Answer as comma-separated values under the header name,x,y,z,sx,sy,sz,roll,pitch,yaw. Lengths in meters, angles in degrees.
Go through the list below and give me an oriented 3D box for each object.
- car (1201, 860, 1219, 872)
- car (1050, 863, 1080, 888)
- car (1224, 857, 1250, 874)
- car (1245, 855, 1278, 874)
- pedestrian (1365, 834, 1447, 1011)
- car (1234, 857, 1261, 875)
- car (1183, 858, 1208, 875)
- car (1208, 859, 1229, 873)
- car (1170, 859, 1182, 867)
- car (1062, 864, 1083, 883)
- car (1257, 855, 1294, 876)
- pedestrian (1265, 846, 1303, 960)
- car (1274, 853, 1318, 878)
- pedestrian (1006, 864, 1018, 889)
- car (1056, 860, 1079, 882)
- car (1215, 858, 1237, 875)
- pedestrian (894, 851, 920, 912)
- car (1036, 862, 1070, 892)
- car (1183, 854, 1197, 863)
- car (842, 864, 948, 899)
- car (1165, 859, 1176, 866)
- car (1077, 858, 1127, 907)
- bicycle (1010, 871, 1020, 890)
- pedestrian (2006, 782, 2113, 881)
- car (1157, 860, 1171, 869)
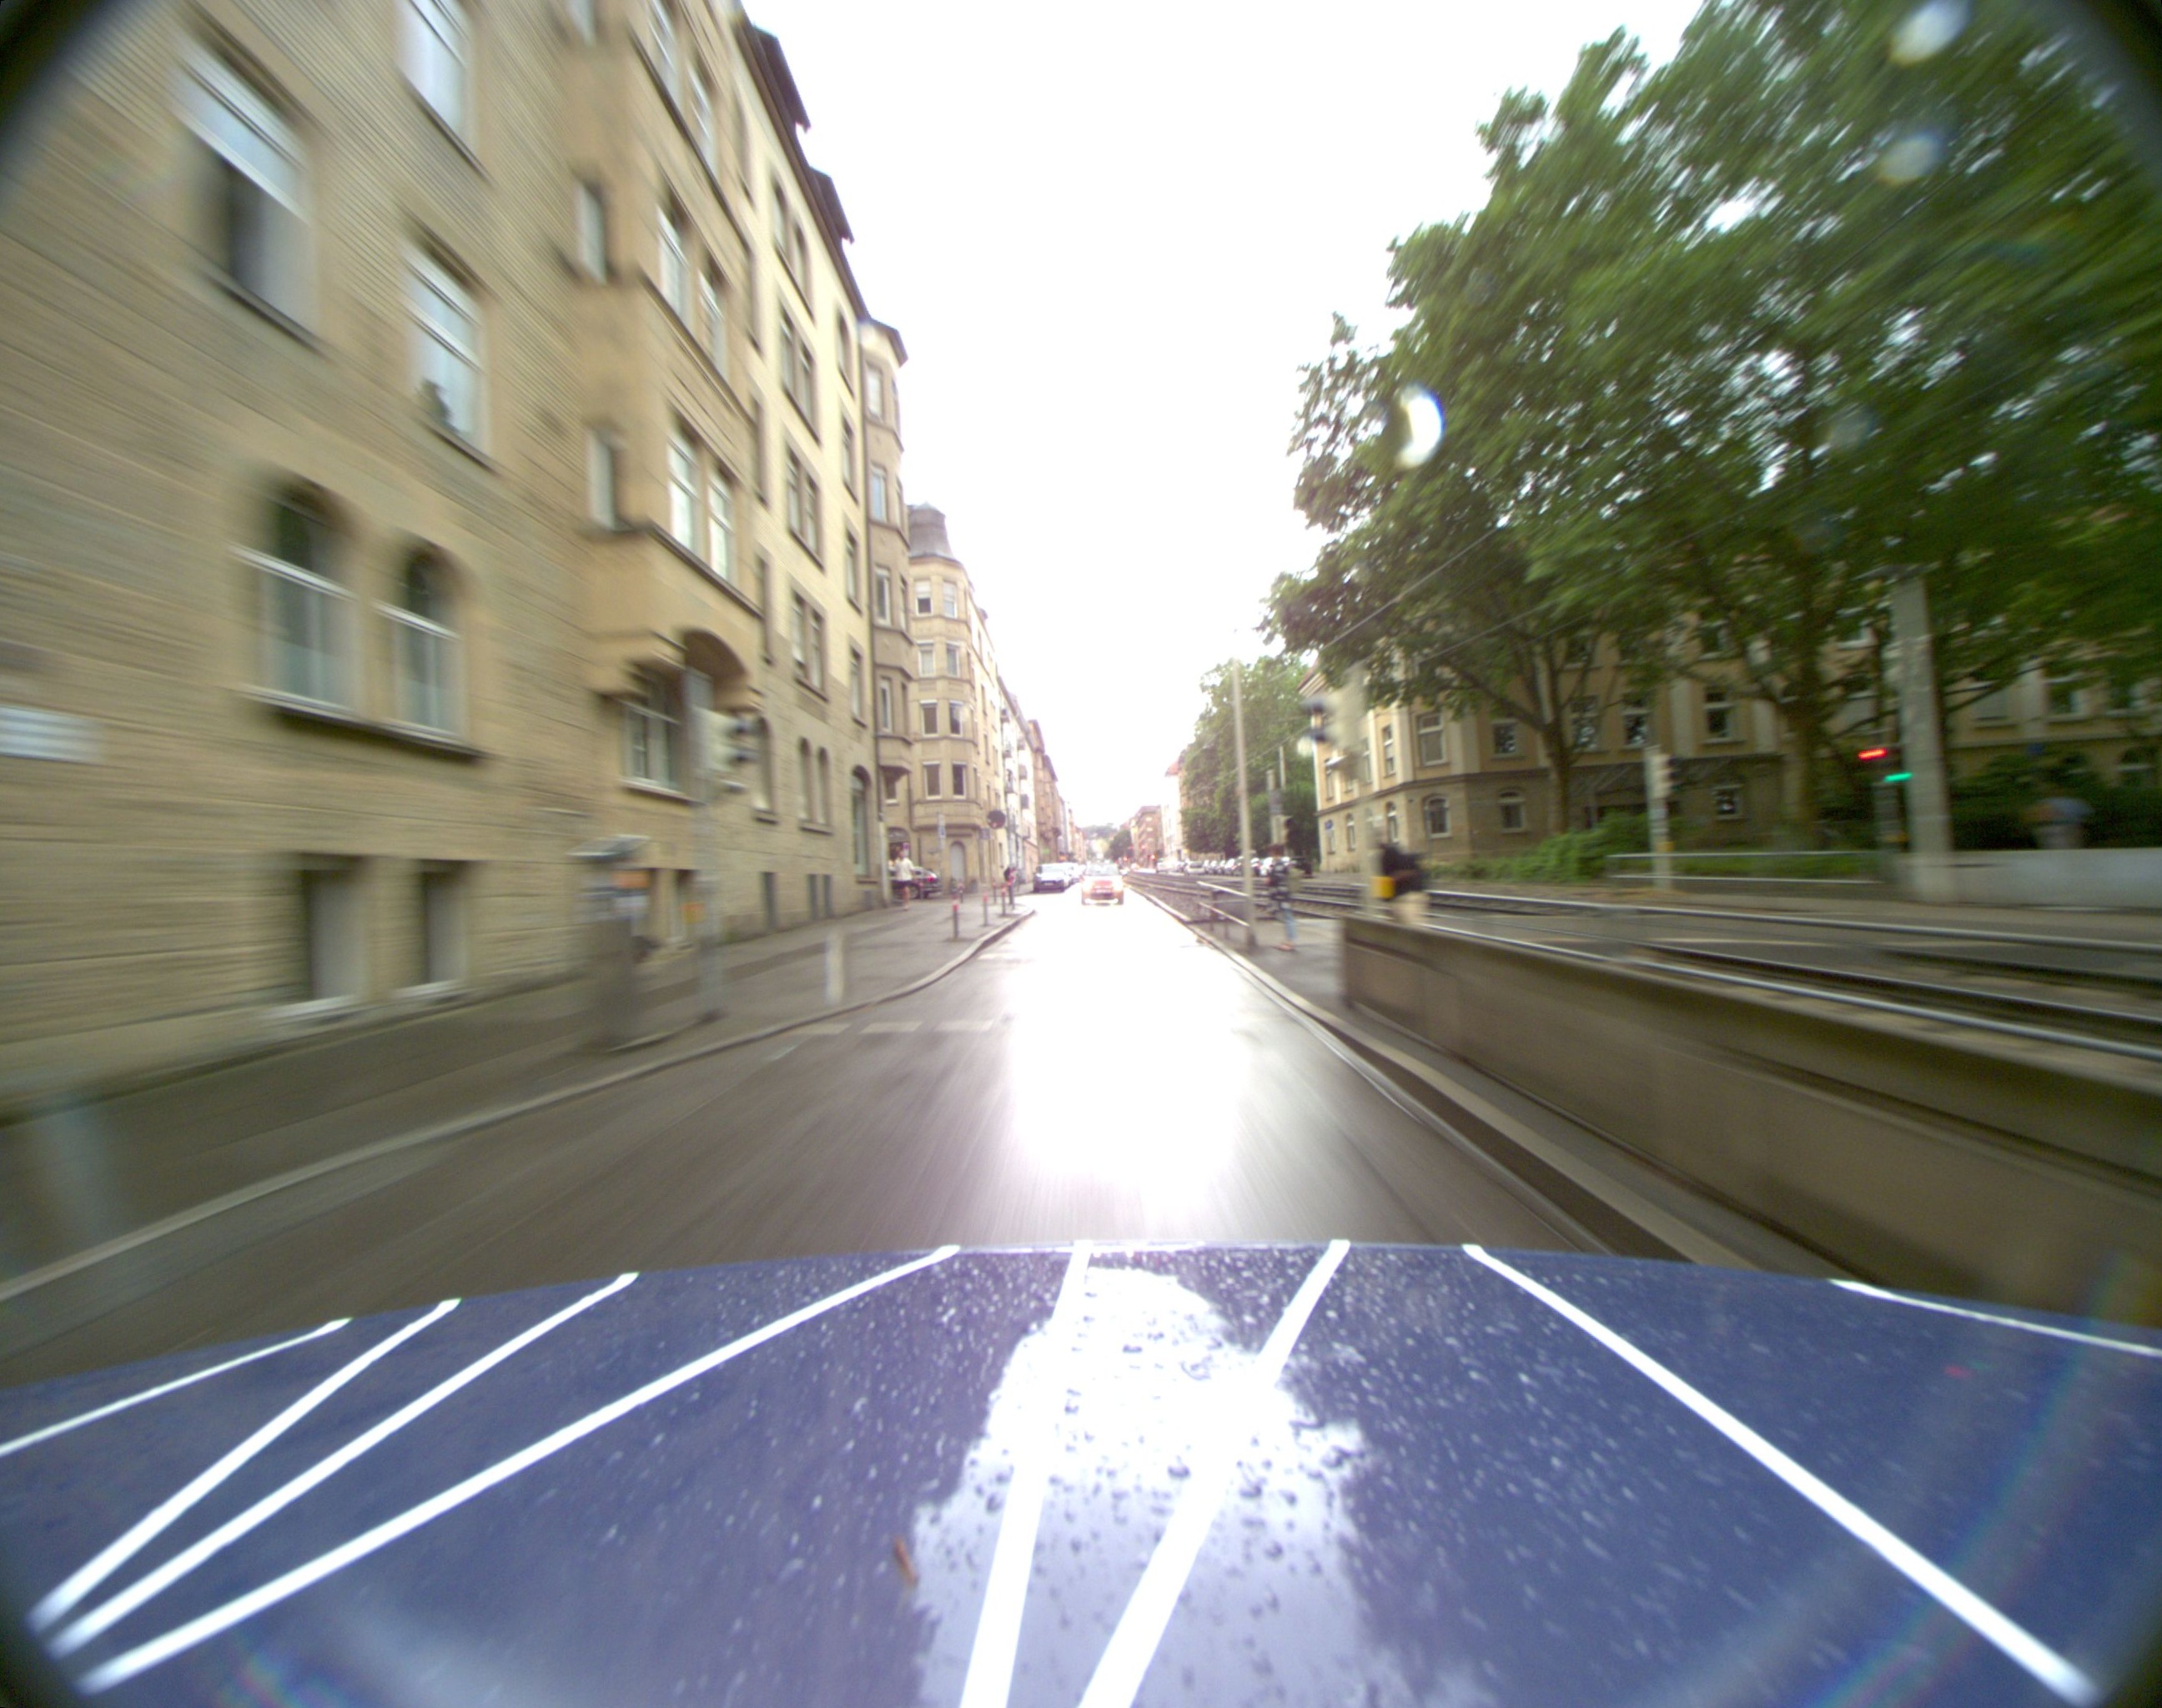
name,x,y,z,sx,sy,sz,roll,pitch,yaw
car,14.103,1.311,82.979,1.326,1.159,2.909,-3,0,-1
car,-1.037,1.394,50.823,1.745,1.507,4.000,-2,0,1
car,14.095,0.993,68.828,1.484,1.440,3.500,-3,0,-1
car,13.906,0.801,58.814,1.646,1.392,3.516,-3,0,0
pedestrian,3.290,0.661,7.689,0.651,1.695,0.662,-3,1,24
car,14.036,0.977,64.089,1.484,1.392,3.282,-3,0,-1
car,11.414,1.241,75.987,1.687,1.468,3.311,-4,0,-3
car,14.124,1.252,78.366,1.402,1.371,3.314,-3,0,-1
car,14.250,1.382,113.711,1.326,1.159,2.910,-3,0,-1
car,-0.730,1.803,70.939,1.745,1.649,4.000,-2,0,1
car,13.827,0.820,54.098,1.646,1.392,3.516,-3,0,0
pedestrian,2.993,0.713,11.233,0.433,1.629,0.482,-3,0,11
car,13.977,0.726,49.598,1.891,1.468,3.807,-4,0,2
pedestrian,-3.826,1.258,42.023,0.510,1.363,0.404,-2,1,-25
car,-1.100,1.427,63.789,1.745,1.729,4.000,-2,0,1
car,14.042,1.183,73.639,1.402,1.499,3.314,-3,0,-1
pedestrian,-5.085,0.789,22.217,0.580,1.741,0.574,-2,-1,2
car,-1.598,1.307,44.625,1.745,1.577,4.000,-2,0,0
car,14.485,0.636,101.201,1.326,1.159,2.910,-3,0,-1
car,-8.708,1.289,35.766,4.506,1.490,1.780,-2,-2,3
car,15.151,1.475,128.561,1.326,1.159,2.910,-3,0,0
car,0.765,1.002,27.722,1.620,1.592,4.067,-2,-1,1
bicycle,-3.666,1.457,42.260,0.339,1.008,1.675,0,0,3
pedestrian,18.716,-0.428,14.561,0.871,1.789,0.862,-3,1,4
car,12.006,1.483,109.875,1.571,1.159,2.909,-3,0,-2
